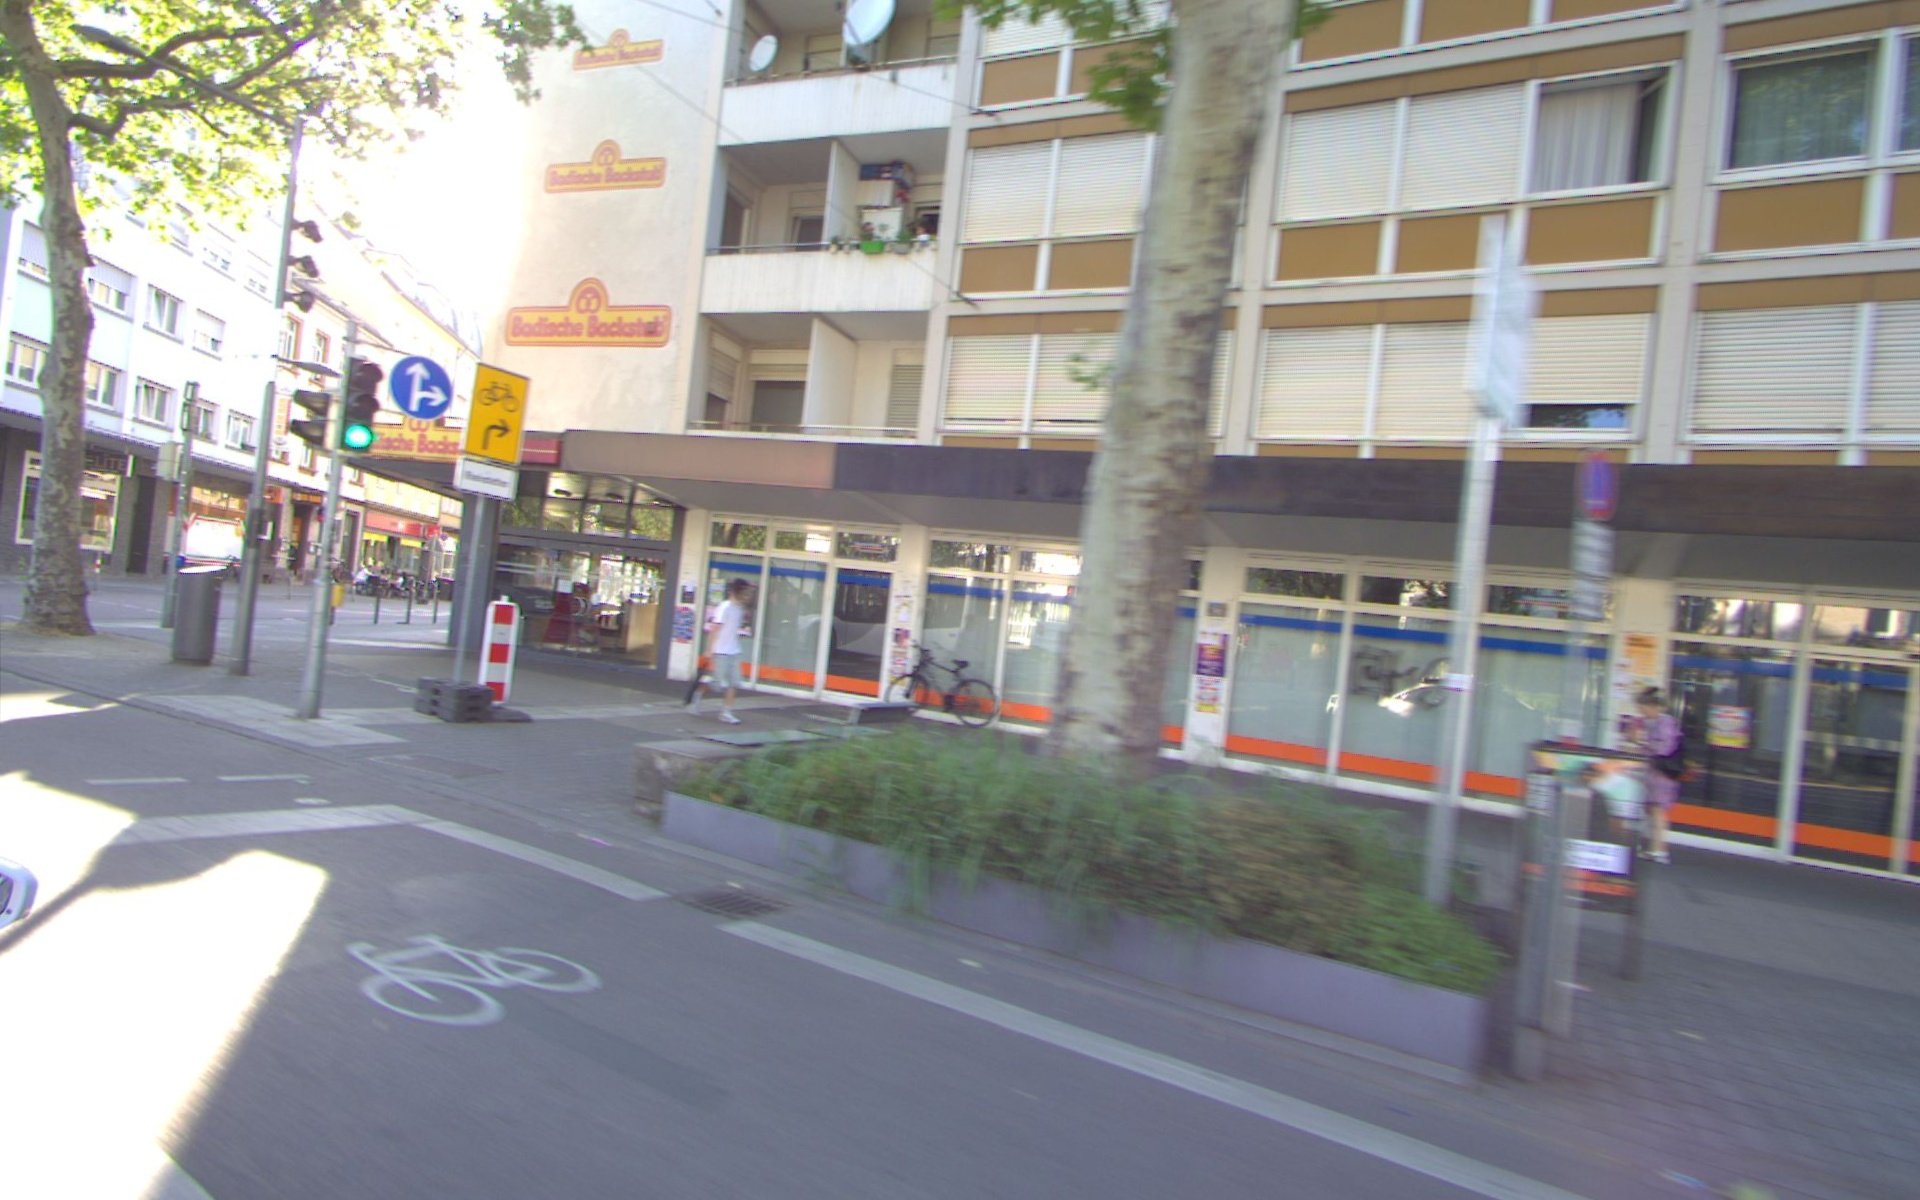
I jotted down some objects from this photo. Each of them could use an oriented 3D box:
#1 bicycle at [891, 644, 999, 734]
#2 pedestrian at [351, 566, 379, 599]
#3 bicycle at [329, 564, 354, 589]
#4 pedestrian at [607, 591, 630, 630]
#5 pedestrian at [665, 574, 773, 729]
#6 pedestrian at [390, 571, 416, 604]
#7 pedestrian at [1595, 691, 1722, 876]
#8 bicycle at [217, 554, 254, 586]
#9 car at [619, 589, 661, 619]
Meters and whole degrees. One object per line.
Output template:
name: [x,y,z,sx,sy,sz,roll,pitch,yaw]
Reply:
bicycle: [-0.226,1.265,14.604,1.435,1.107,0.438,6,2,24]
pedestrian: [-24.915,-0.743,42.131,0.719,1.257,0.552,7,-2,25]
bicycle: [-27.525,-1.057,44.810,0.290,1.054,1.714,4,1,-11]
pedestrian: [-14.903,0.474,43.945,0.655,1.593,0.693,8,-2,-10]
pedestrian: [-2.915,0.608,12.221,0.778,1.734,0.837,7,2,20]
pedestrian: [-23.473,-0.520,42.390,0.683,1.257,0.597,8,-2,-13]
pedestrian: [6.610,1.702,9.564,0.794,1.571,0.640,6,0,30]
bicycle: [-25.953,-1.073,36.061,0.290,1.053,1.716,4,-1,-11]
car: [-22.090,0.299,69.665,1.810,1.680,4.001,8,-3,-6]
